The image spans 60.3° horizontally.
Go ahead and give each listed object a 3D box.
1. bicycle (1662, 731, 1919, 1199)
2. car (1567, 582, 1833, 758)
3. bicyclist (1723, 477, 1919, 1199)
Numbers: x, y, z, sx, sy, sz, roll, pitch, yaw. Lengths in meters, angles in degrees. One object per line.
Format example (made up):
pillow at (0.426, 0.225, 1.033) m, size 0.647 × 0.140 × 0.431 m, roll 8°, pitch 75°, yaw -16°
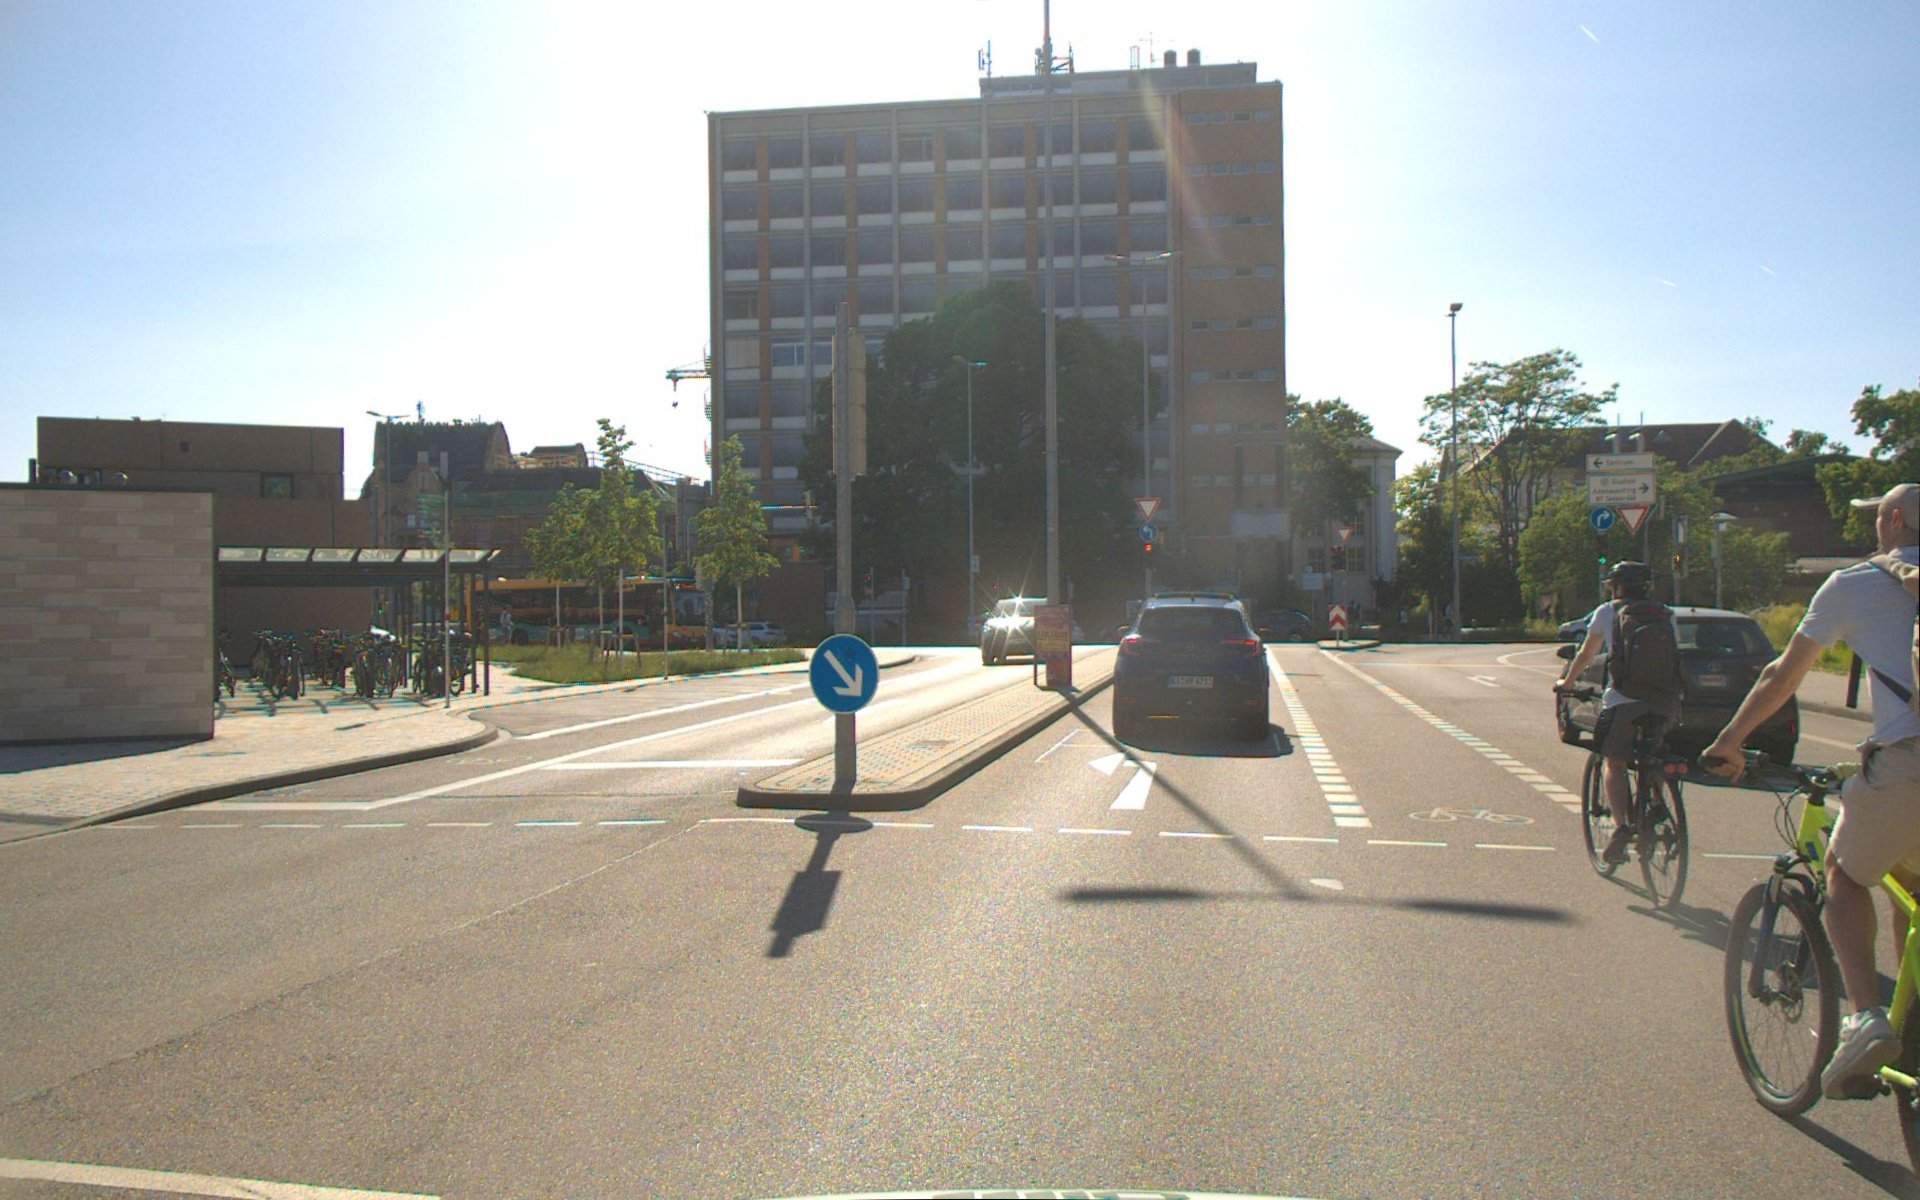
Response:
bicycle at (2.542, 0.966, 4.392) m, size 0.649 × 1.065 × 1.891 m, roll -1°, pitch 0°, yaw 4°
car at (7.307, 0.659, 16.686) m, size 1.718 × 1.569 × 3.661 m, roll 0°, pitch -1°, yaw 12°
bicyclist at (2.536, 0.583, 4.339) m, size 0.650 × 1.777 × 1.006 m, roll -1°, pitch 2°, yaw 4°
